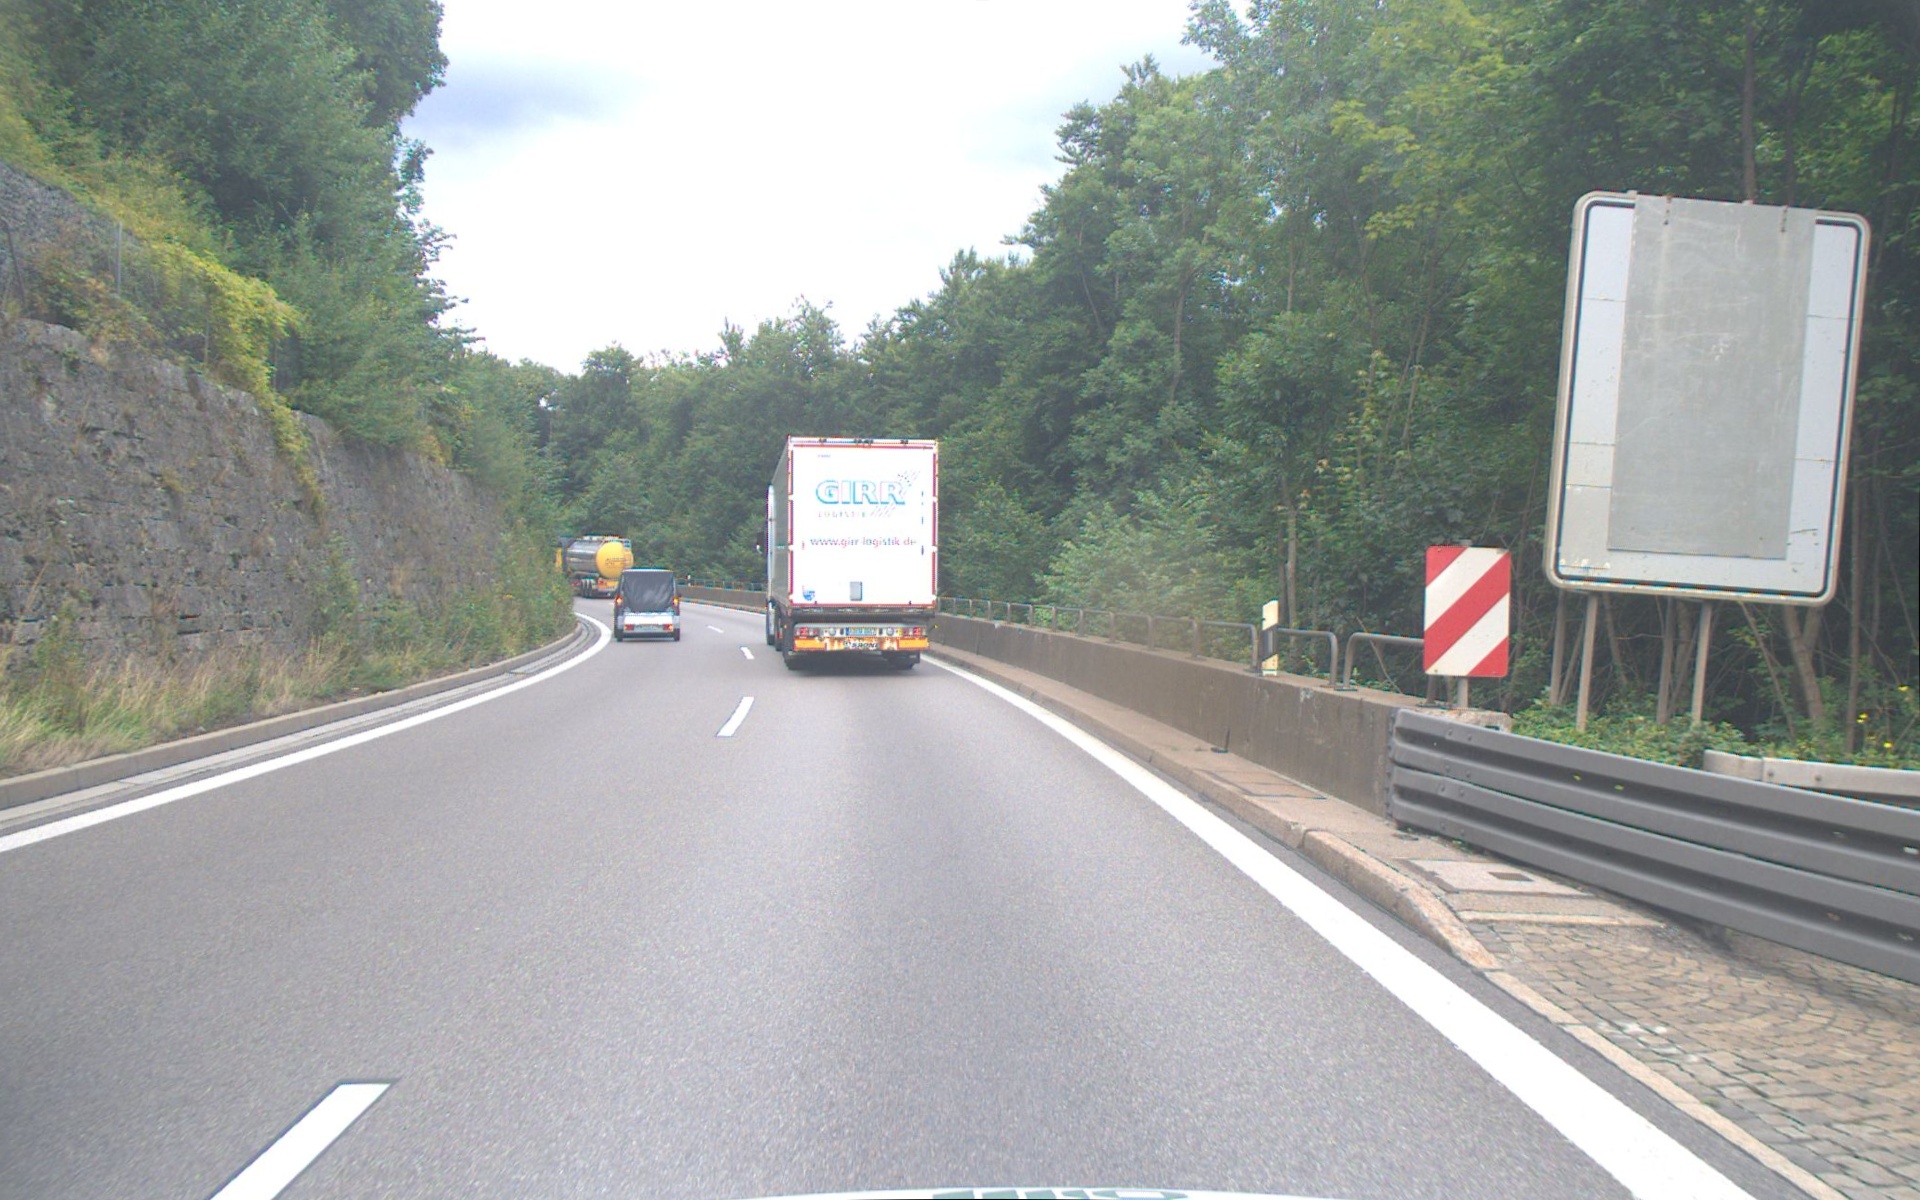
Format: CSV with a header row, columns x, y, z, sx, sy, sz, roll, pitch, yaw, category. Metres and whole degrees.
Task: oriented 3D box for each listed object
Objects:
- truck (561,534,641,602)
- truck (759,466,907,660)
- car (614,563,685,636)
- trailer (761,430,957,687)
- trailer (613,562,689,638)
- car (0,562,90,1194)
x,y,z,sx,sy,sz,roll,pitch,yaw,category
-23.028,-1.974,105.441,3.014,4.056,13.611,0,0,-21,truck
-3.187,-0.913,39.591,3.000,4.055,7.177,3,1,-7,truck
-9.312,-0.001,49.667,1.958,2.049,5.525,1,0,-11,car
-2.372,-0.872,33.180,3.000,4.055,12.119,3,2,-7,trailer
-8.464,0.005,45.270,1.936,1.973,3.421,1,0,-11,trailer
-3.332,0.629,1.708,1.931,1.621,5.583,3,-1,-1,car
